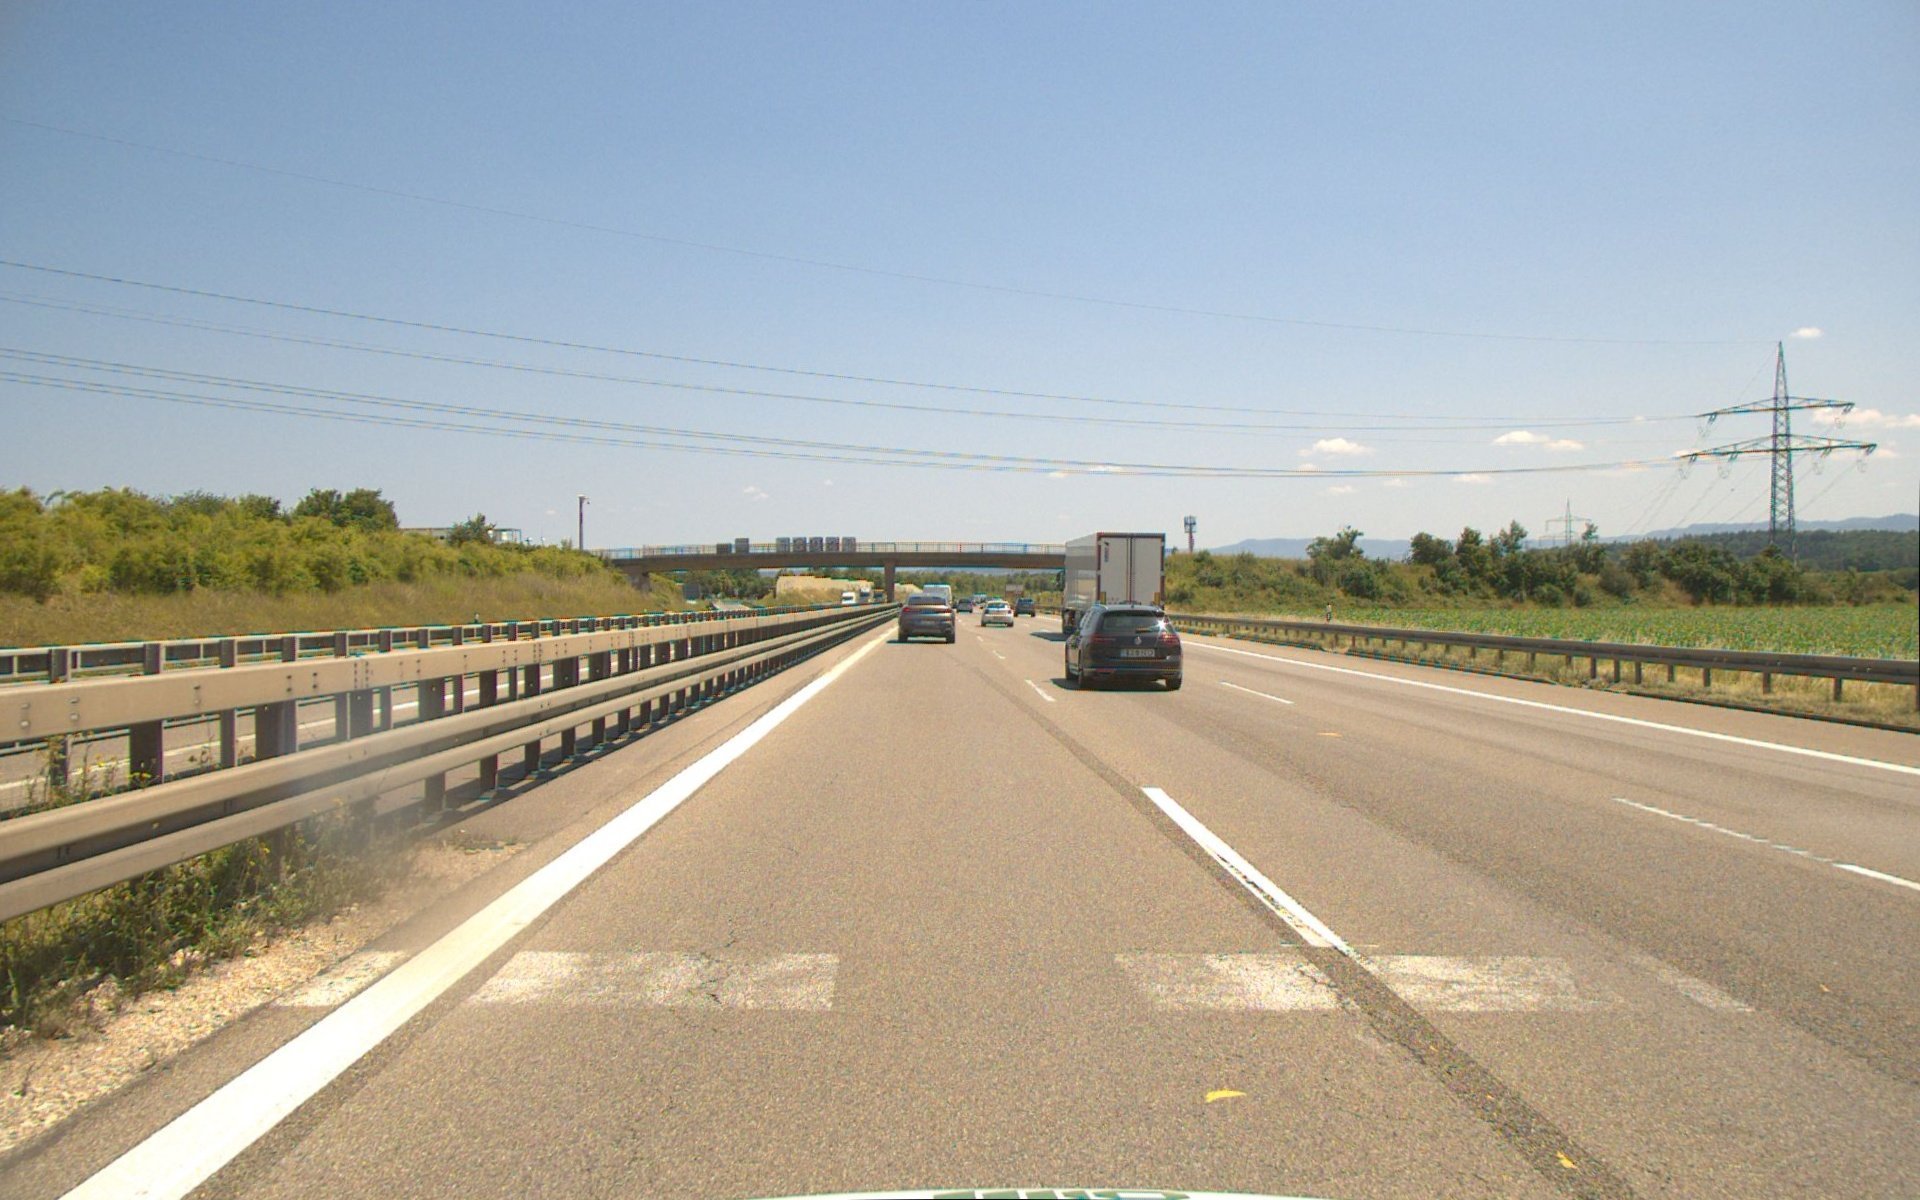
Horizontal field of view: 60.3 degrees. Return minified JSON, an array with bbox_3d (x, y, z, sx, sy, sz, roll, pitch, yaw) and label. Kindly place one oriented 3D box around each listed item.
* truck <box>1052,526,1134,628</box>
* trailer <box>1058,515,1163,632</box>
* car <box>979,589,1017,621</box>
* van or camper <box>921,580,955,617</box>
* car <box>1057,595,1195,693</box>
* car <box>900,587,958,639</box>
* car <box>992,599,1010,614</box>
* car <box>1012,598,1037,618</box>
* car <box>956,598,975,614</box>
[{"bbox_3d":[5.902,-0.973,74.474,2.918,4.301,7.686,1,0,-1],"label":"truck"},{"bbox_3d":[5.963,-0.971,67.885,2.883,4.271,13.594,1,0,-1],"label":"trailer"},{"bbox_3d":[2.117,0.262,92.676,1.953,1.712,3.999,1,0,-1],"label":"car"},{"bbox_3d":[-1.416,-0.086,105.475,2.068,2.250,5.264,1,0,-1],"label":"van or camper"},{"bbox_3d":[2.909,0.743,30.067,1.894,1.602,4.933,1,0,-1],"label":"car"},{"bbox_3d":[-1.094,0.436,57.197,1.814,1.693,3.732,1,0,-4],"label":"car"},{"bbox_3d":[4.930,0.743,198.040,1.953,1.712,3.999,1,0,-1],"label":"car"},{"bbox_3d":[5.646,0.693,145.796,1.953,1.712,3.999,1,0,-1],"label":"car"},{"bbox_3d":[0.554,0.670,180.056,1.953,1.712,3.999,1,0,-1],"label":"car"}]
